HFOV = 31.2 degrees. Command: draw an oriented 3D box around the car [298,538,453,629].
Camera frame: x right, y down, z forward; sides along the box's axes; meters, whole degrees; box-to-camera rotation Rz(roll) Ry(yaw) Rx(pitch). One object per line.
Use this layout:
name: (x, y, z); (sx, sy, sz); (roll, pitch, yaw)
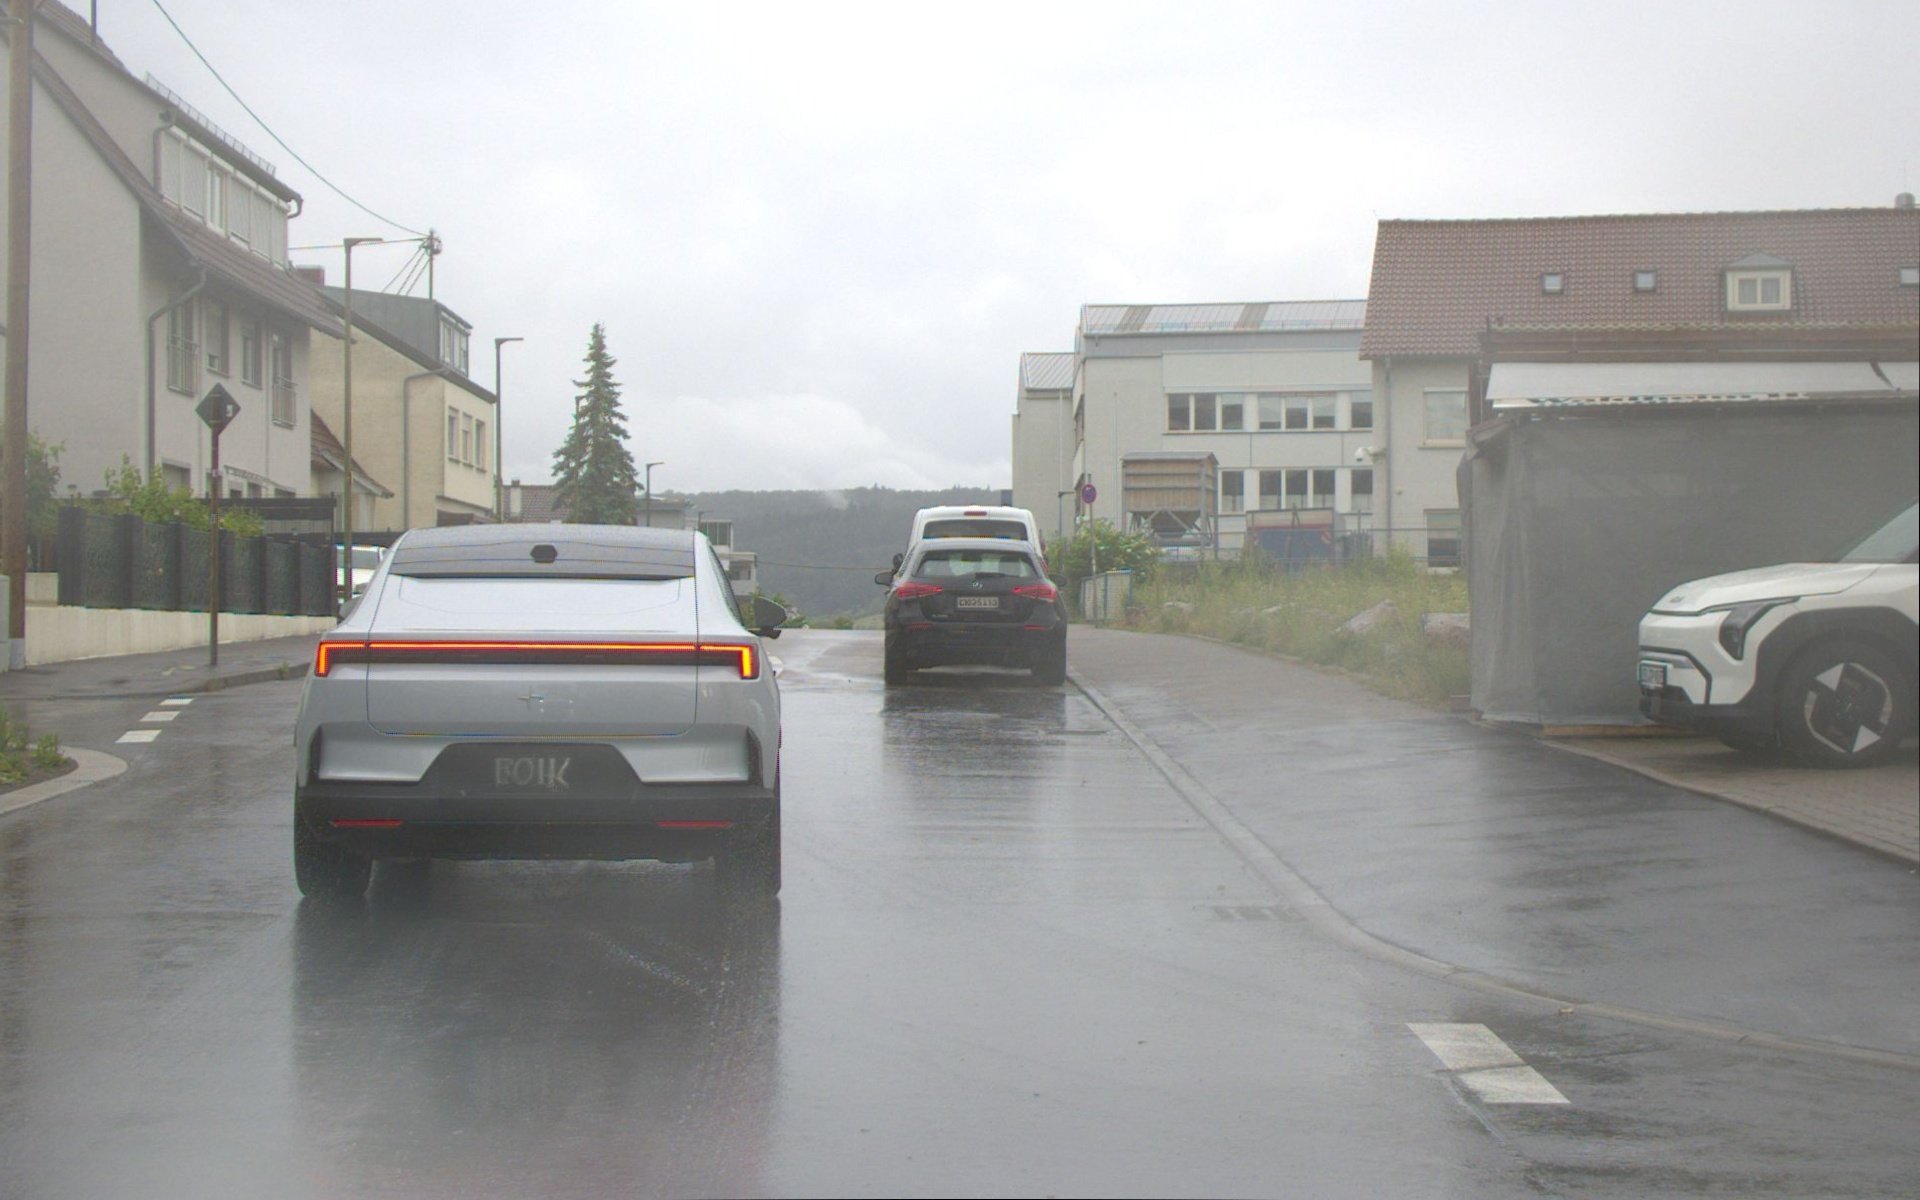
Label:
car: (-10.786, -0.293, 63.771); (1.993, 1.505, 4.895); (3, 0, -1)

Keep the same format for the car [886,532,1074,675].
car: (0.151, 0.020, 35.002); (1.768, 1.331, 4.321); (1, 0, -1)

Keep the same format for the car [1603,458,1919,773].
car: (5.854, 0.039, 18.890); (4.216, 1.604, 1.861); (-2, 0, -2)

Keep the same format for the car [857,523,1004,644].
car: (-0.459, -0.234, 48.163); (1.642, 1.569, 4.644); (1, 0, -5)

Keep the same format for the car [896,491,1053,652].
car: (0.132, -0.339, 41.756); (1.768, 1.819, 4.574); (1, 0, -1)

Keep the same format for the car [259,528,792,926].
car: (-1.825, 0.471, 15.340); (1.993, 1.497, 4.670); (0, 0, -5)
